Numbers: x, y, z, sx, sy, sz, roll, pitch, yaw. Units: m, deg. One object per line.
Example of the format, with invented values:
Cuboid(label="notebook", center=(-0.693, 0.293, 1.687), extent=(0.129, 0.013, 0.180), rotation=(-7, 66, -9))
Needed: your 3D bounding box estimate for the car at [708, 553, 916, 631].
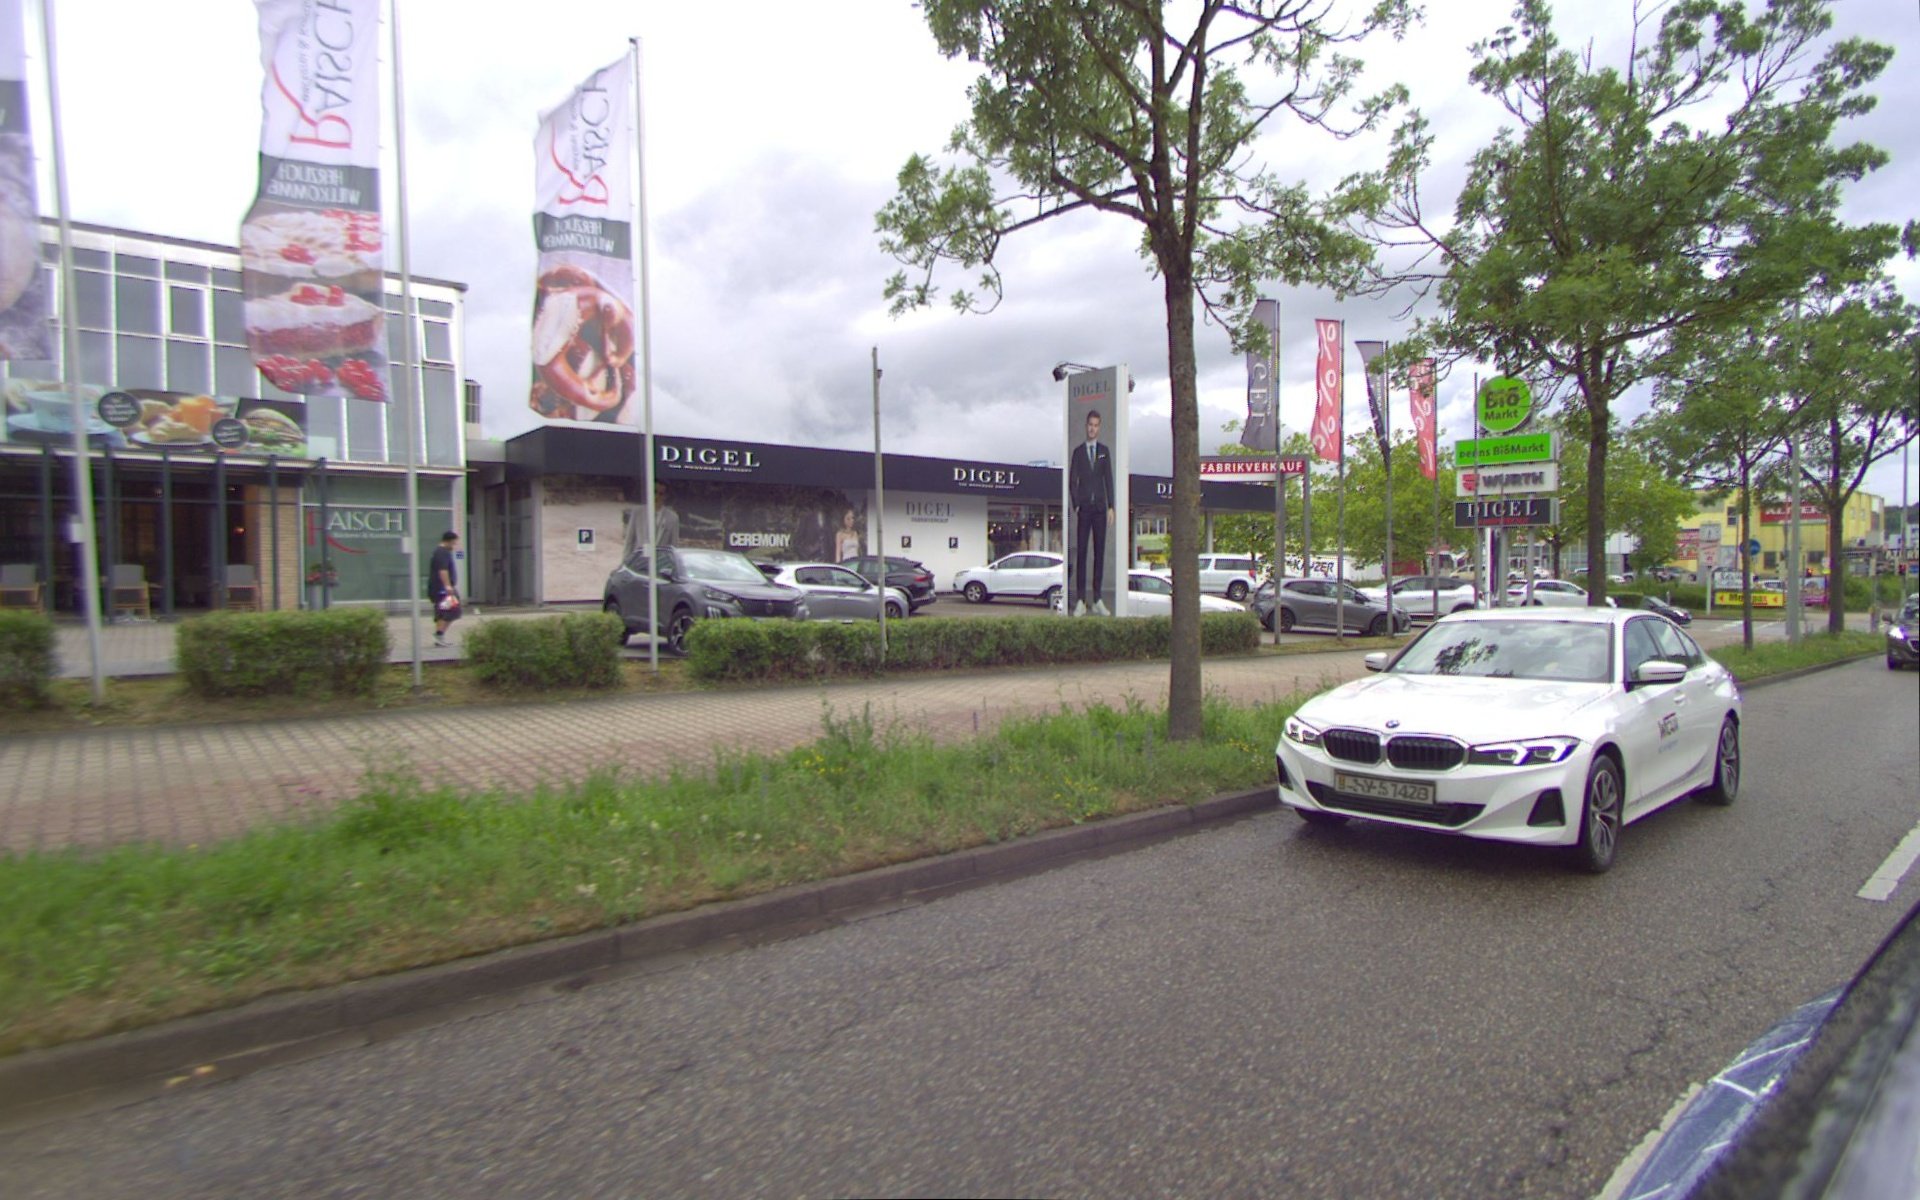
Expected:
Cuboid(label="car", center=(-3.117, -0.163, 21.734), extent=(4.048, 1.463, 1.766), rotation=(1, 3, -39))

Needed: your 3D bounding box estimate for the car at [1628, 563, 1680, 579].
Cuboid(label="car", center=(70.633, -3.006, 103.047), extent=(1.768, 1.529, 3.996), rotation=(0, 2, -39))

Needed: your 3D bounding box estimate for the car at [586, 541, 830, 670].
Cuboid(label="car", center=(-3.833, -0.020, 14.873), extent=(1.829, 1.490, 4.180), rotation=(0, 4, -40))

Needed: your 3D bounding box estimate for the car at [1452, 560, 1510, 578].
Cuboid(label="car", center=(55.059, -3.312, 106.960), extent=(1.998, 1.820, 5.092), rotation=(0, 2, -39))

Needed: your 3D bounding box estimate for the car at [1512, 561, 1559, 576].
Cuboid(label="car", center=(64.658, -3.575, 113.704), extent=(1.791, 1.601, 4.220), rotation=(0, 2, -39))

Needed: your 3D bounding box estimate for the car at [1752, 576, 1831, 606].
Cuboid(label="car", center=(55.306, -0.620, 67.372), extent=(3.981, 1.834, 1.743), rotation=(3, 2, 39))

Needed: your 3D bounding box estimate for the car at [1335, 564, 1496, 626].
Cuboid(label="car", center=(13.903, -0.184, 31.105), extent=(4.114, 1.598, 1.738), rotation=(3, 3, 12))

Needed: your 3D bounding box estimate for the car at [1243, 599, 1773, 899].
Cuboid(label="car", center=(4.034, 0.728, 7.082), extent=(4.462, 1.459, 1.806), rotation=(0, -1, -41))

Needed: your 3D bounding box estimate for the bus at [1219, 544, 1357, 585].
Cuboid(label="bus", center=(32.039, -3.363, 97.987), extent=(17.021, 3.557, 4.102), rotation=(0, 2, -39))

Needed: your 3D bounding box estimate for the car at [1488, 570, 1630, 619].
Cuboid(label="car", center=(22.850, -0.235, 38.715), extent=(4.238, 1.598, 1.742), rotation=(3, 3, 5))

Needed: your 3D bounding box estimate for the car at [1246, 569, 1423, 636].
Cuboid(label="car", center=(9.687, 0.024, 26.434), extent=(3.951, 1.454, 1.741), rotation=(3, 3, 8))

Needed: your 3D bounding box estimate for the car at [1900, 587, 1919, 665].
Cuboid(label="car", center=(21.702, 0.535, 21.773), extent=(4.146, 1.601, 1.796), rotation=(0, -1, -42))

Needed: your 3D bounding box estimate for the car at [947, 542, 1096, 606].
Cuboid(label="car", center=(1.974, -0.847, 31.905), extent=(4.430, 1.701, 1.795), rotation=(3, 4, 13))

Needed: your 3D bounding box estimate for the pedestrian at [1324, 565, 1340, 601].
Cuboid(label="pedestrian", center=(17.809, -0.830, 48.452), extent=(0.556, 1.702, 0.473), rotation=(1, 0, -27))

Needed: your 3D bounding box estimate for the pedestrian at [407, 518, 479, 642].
Cuboid(label="pedestrian", center=(-7.779, -0.296, 15.234), extent=(0.836, 1.812, 0.632), rotation=(0, -1, -41))

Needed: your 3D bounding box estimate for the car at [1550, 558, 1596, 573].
Cuboid(label="car", center=(70.739, -4.022, 116.819), extent=(1.791, 1.601, 4.220), rotation=(0, 2, -39))

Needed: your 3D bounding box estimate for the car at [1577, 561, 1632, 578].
Cuboid(label="car", center=(60.464, -2.845, 95.028), extent=(1.768, 1.529, 3.996), rotation=(0, 2, -39))

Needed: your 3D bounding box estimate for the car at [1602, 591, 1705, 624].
Cuboid(label="car", center=(34.266, 0.340, 50.070), extent=(1.716, 1.529, 3.989), rotation=(-4, 3, -44))

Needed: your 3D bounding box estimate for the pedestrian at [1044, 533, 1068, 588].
Cuboid(label="pedestrian", center=(3.586, -1.455, 37.777), extent=(0.646, 2.039, 0.612), rotation=(0, -1, -39))

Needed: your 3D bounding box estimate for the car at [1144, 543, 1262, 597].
Cuboid(label="car", center=(9.140, -1.150, 38.342), extent=(4.045, 1.766, 1.798), rotation=(3, 4, 7))

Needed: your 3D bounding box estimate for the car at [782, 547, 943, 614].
Cuboid(label="car", center=(-2.565, -0.550, 27.134), extent=(3.975, 1.495, 1.798), rotation=(3, 4, 8))

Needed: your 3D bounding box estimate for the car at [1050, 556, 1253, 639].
Cuboid(label="car", center=(4.179, -0.108, 22.134), extent=(4.122, 1.490, 1.783), rotation=(4, 3, 15))

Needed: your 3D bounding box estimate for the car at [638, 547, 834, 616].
Cuboid(label="car", center=(-5.563, -0.512, 25.348), extent=(4.424, 1.412, 1.797), rotation=(3, 4, 9))

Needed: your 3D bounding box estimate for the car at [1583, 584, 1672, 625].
Cuboid(label="car", center=(28.339, 0.174, 43.098), extent=(1.715, 1.599, 3.863), rotation=(2, 0, 10))
